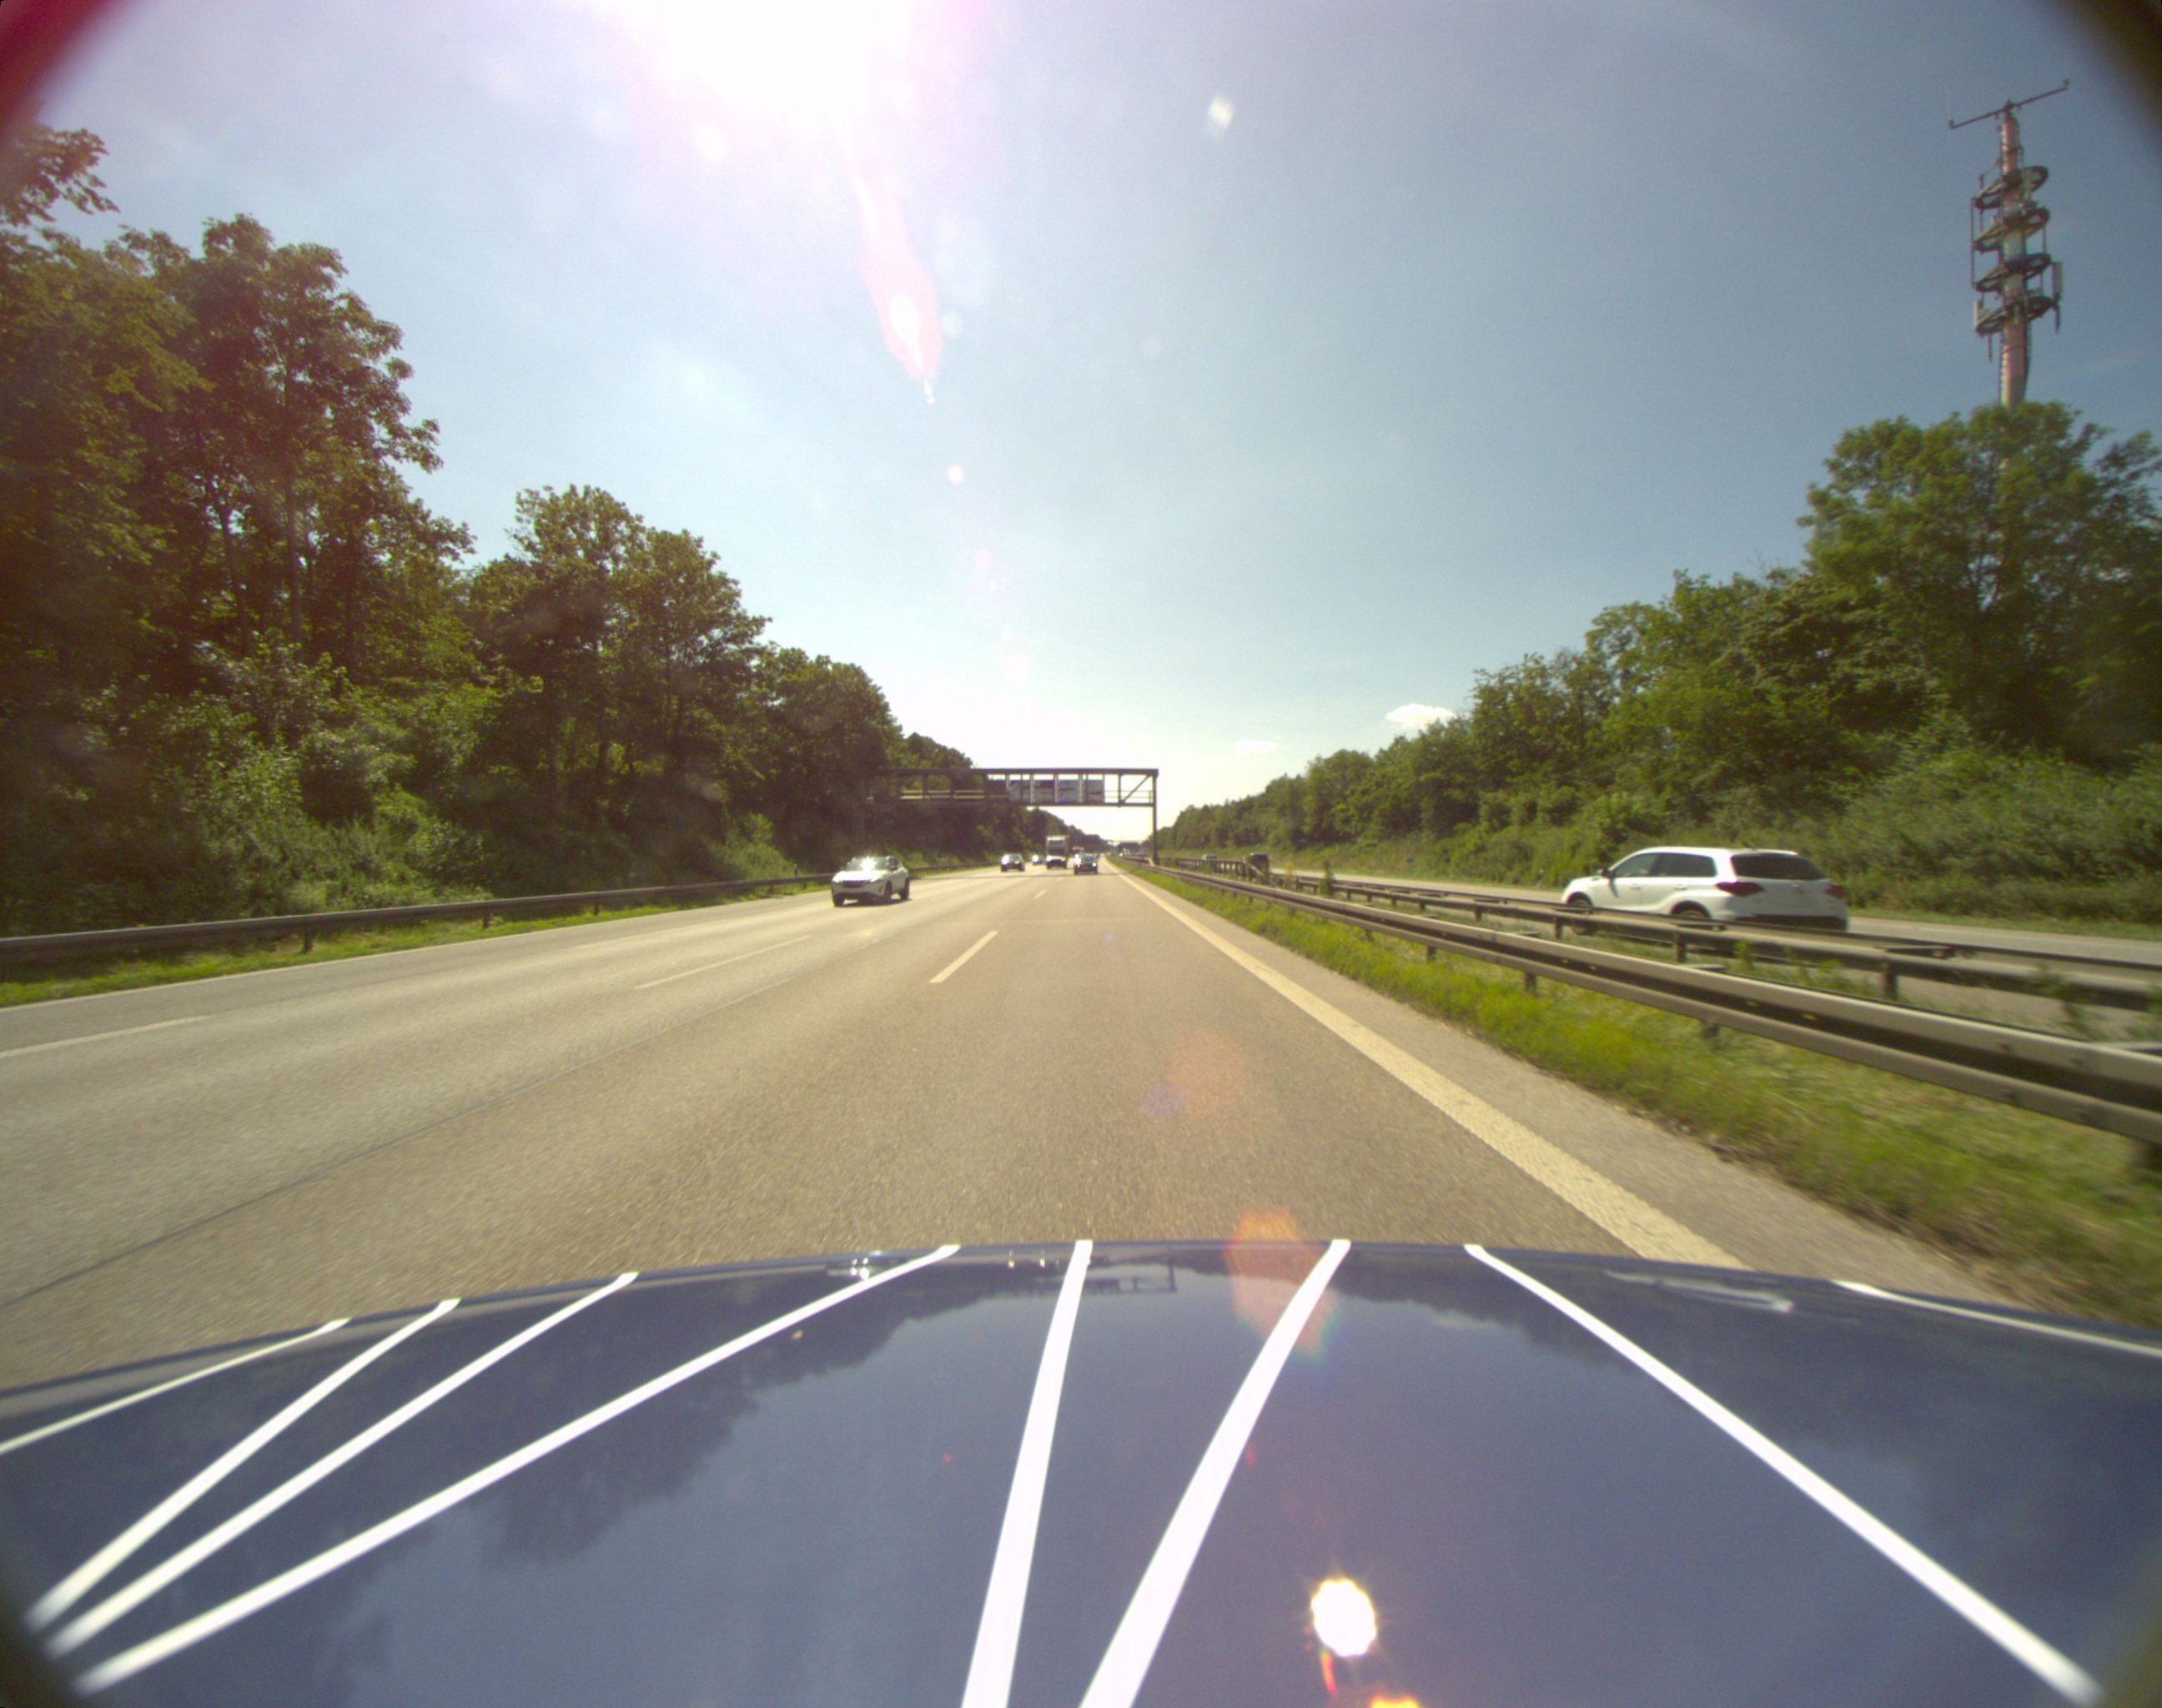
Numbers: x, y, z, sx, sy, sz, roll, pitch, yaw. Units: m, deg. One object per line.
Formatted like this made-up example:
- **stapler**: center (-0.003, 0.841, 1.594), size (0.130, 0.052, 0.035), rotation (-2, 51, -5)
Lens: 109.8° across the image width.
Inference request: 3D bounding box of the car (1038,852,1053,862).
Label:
- **car**: center (-5.095, 0.368, 110.803), size (1.916, 1.390, 4.138), rotation (-1, 0, 1)

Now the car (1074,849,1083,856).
- **car**: center (-0.582, -0.340, 169.498), size (1.831, 1.346, 3.679), rotation (0, 0, 1)

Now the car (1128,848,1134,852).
- **car**: center (16.150, -1.275, 245.264), size (1.718, 1.390, 4.149), rotation (0, 1, 1)

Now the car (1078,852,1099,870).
- **car**: center (0.568, 0.510, 57.143), size (1.537, 1.265, 2.769), rotation (-1, 1, 1)

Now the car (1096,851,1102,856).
- **car**: center (4.799, -0.060, 202.571), size (1.591, 1.291, 3.382), rotation (0, 0, 1)

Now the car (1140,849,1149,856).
- **car**: center (13.955, -0.396, 167.468), size (1.766, 1.608, 4.230), rotation (0, 1, 1)

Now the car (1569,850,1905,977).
- **car**: center (9.815, 0.764, 11.870), size (1.816, 1.607, 3.913), rotation (1, 1, 0)

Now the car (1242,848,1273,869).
- **car**: center (14.326, 0.363, 61.847), size (1.661, 1.607, 3.913), rotation (1, 1, 1)

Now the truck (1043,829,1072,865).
- **truck**: center (-2.423, -0.773, 80.688), size (2.676, 3.661, 6.483), rotation (-1, 1, 1)

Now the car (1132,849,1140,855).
- **car**: center (14.308, -0.519, 197.571), size (1.811, 1.632, 4.800), rotation (2, 1, 1)

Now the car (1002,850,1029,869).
- **car**: center (-6.297, 0.534, 73.160), size (1.924, 1.659, 4.687), rotation (-2, 0, 3)

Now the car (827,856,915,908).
- **car**: center (-7.226, 0.910, 26.571), size (1.848, 1.559, 4.035), rotation (-2, 0, 1)

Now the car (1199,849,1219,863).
- **car**: center (14.914, 0.220, 88.998), size (1.661, 1.469, 4.319), rotation (1, 1, 1)

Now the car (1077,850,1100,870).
- **car**: center (0.613, 0.463, 61.164), size (1.814, 1.483, 3.728), rotation (-1, 0, 1)
